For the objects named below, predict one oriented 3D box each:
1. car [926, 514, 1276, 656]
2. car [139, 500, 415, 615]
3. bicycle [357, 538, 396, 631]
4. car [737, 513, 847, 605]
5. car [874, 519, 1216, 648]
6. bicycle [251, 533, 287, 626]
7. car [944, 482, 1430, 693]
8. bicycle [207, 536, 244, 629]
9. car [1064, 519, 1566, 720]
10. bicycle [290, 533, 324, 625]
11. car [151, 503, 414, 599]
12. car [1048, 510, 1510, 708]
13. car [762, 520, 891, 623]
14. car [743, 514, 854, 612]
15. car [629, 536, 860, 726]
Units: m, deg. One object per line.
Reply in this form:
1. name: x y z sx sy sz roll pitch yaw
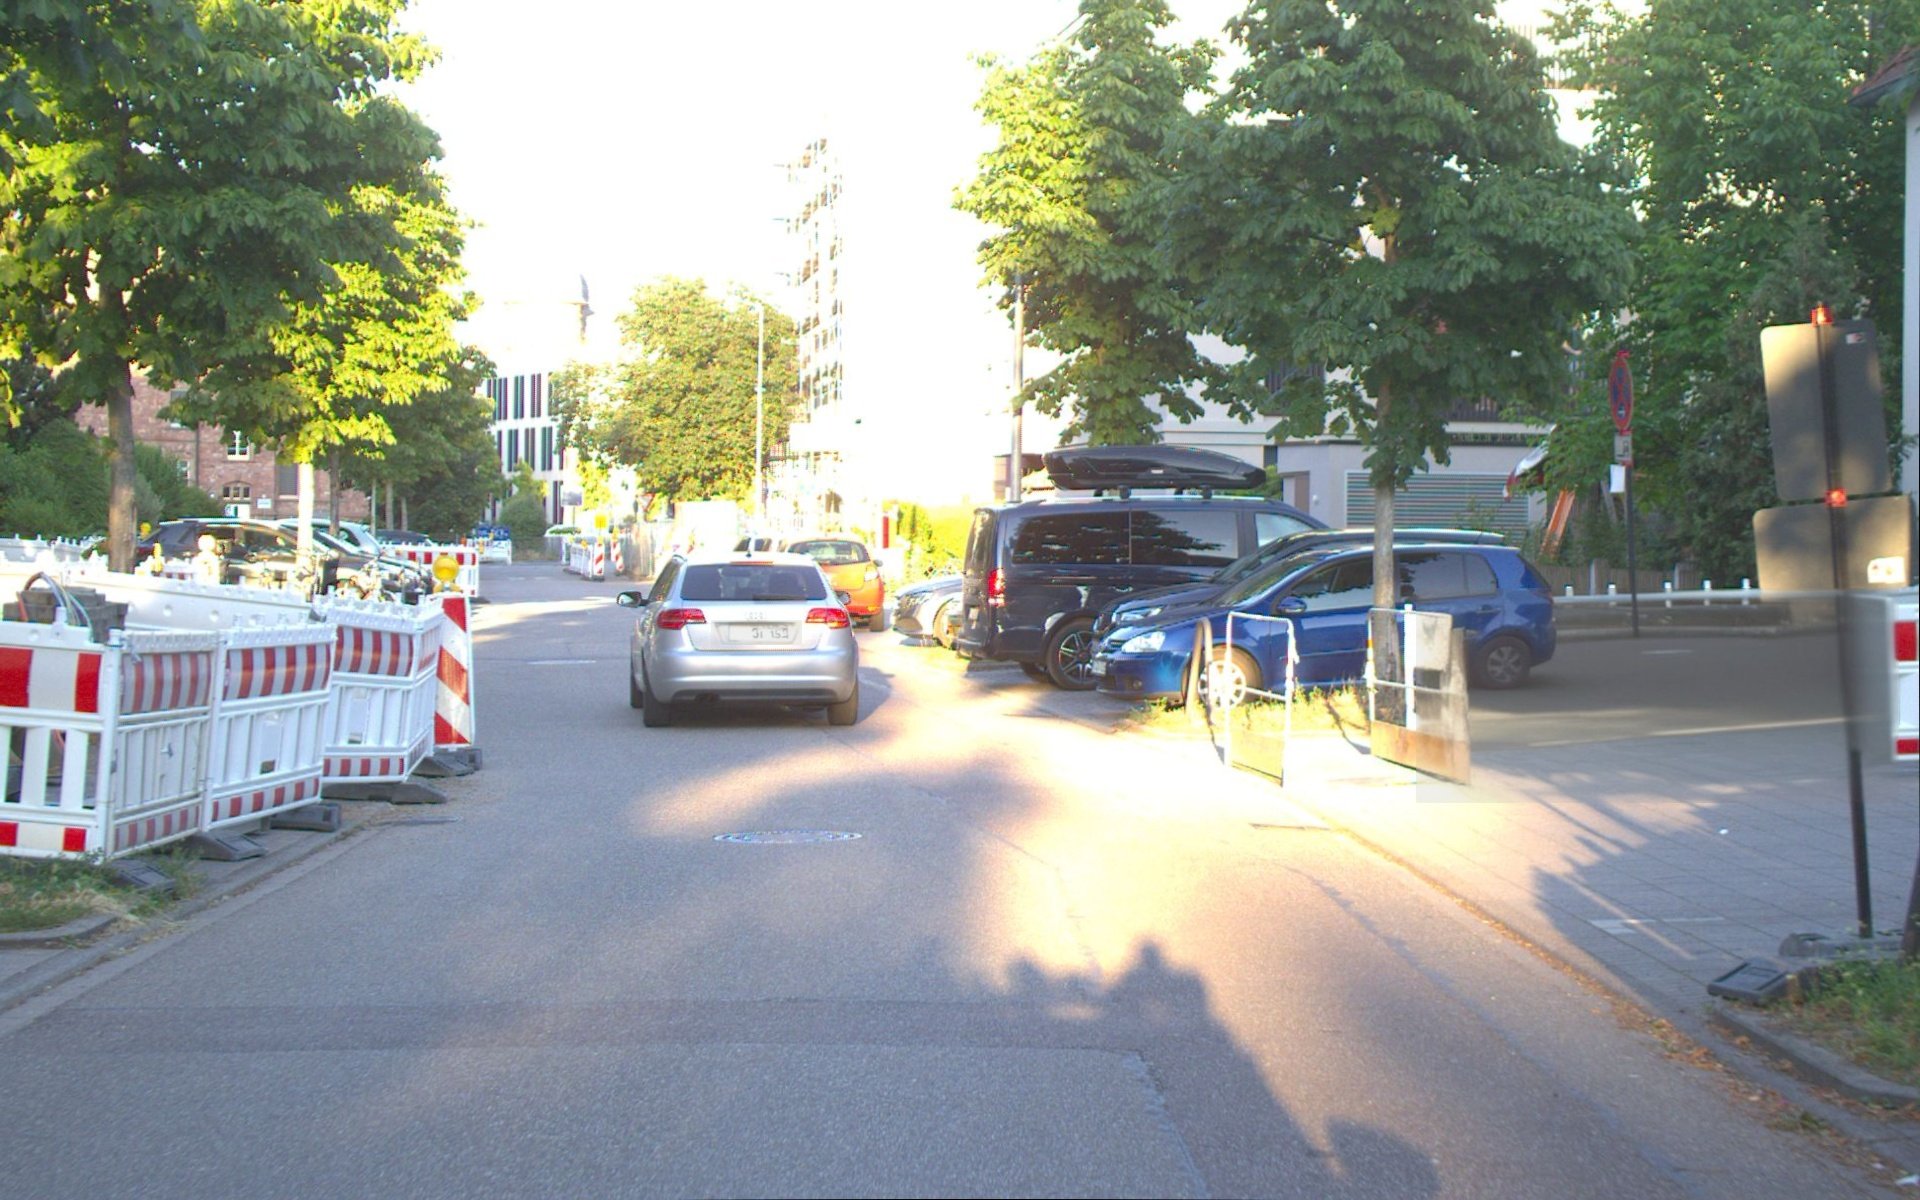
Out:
1. car: 1.721 -0.196 42.642 3.938 1.643 1.977 1 1 -12
2. car: -10.242 -0.651 51.802 3.986 1.620 2.001 1 1 -9
3. bicycle: -8.018 -0.223 47.217 0.405 1.223 1.988 1 1 -13
4. car: -3.116 -0.774 63.202 1.808 1.607 3.582 1 1 -6
5. car: 1.092 -0.224 45.043 4.148 1.566 1.798 1 1 -12
6. bicycle: -9.495 -0.294 47.265 0.406 1.223 1.988 1 1 -10
7. car: 2.279 -0.145 35.177 4.555 2.016 2.102 1 1 -10
8. bicycle: -10.082 -0.254 47.200 0.406 1.223 1.988 1 1 -10
9. car: 3.078 0.160 30.145 3.986 1.645 1.765 1 1 -12
10. bicycle: -8.991 -0.304 47.360 0.406 1.223 1.988 1 1 -10
11. car: -10.638 -0.771 54.232 3.986 1.475 2.001 0 1 -9
12. car: 3.003 0.064 32.860 3.986 1.762 2.001 1 1 -9
13. car: -2.082 -0.461 52.802 1.730 1.478 3.558 1 1 -6
14. car: -2.767 -0.652 58.330 1.663 1.568 3.441 1 1 -6
15. car: -1.858 0.208 29.043 1.807 1.483 4.001 0 1 -5
